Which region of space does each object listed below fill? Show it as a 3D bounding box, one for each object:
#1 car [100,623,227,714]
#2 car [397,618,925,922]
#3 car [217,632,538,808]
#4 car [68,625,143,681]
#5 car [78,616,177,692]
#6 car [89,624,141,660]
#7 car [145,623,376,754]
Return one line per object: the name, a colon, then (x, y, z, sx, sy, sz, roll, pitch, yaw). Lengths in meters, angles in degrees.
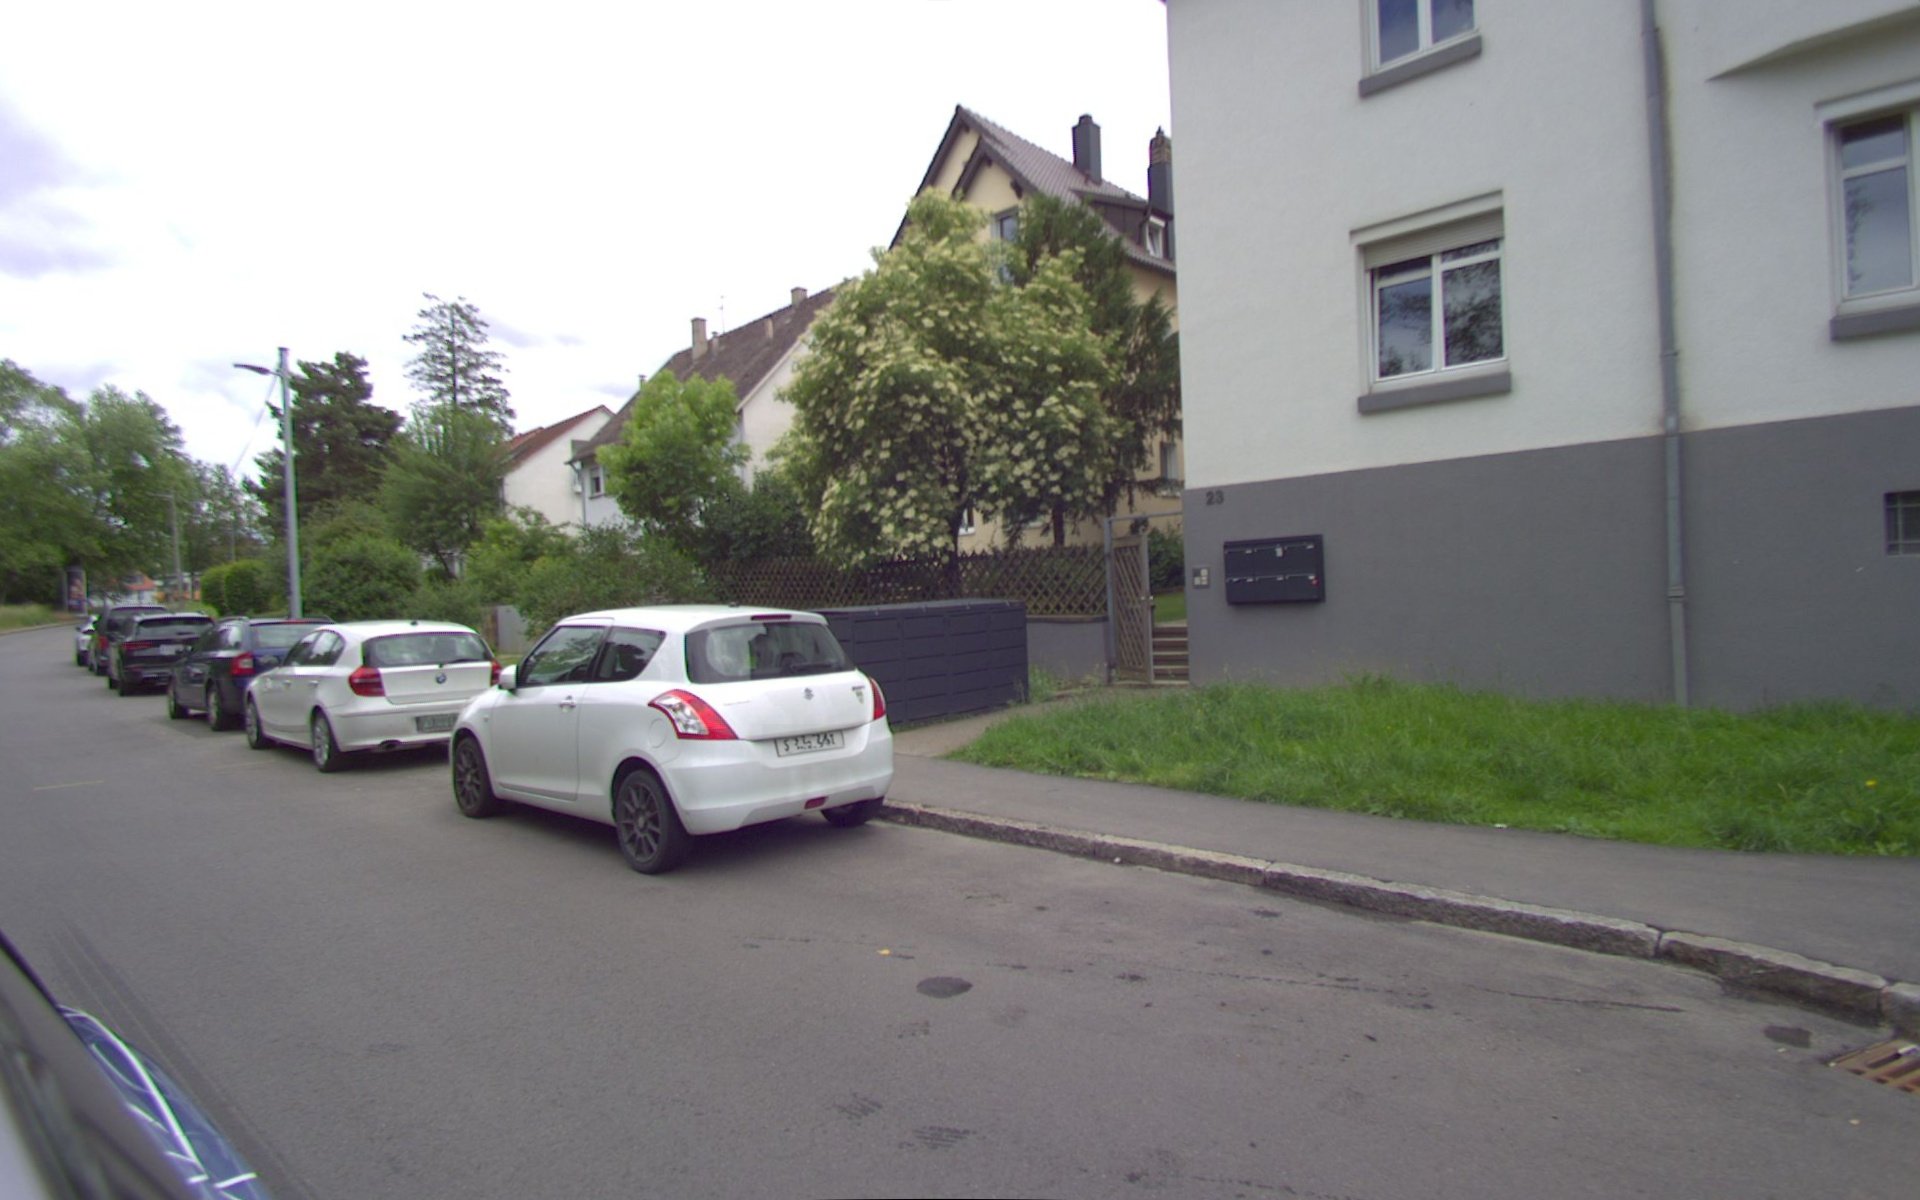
car: (-16.423, 1.316, 20.795, 1.642, 1.593, 4.081, -1, 0, -44)
car: (-2.286, 0.928, 7.060, 4.070, 1.481, 1.625, -2, -1, 42)
car: (-6.501, 1.112, 11.017, 4.726, 1.400, 1.706, -1, 0, 43)
car: (-26.110, 1.556, 30.877, 1.641, 1.516, 4.050, -1, 0, -42)
car: (-22.338, 1.355, 27.097, 1.775, 1.814, 4.068, -1, 0, -43)
car: (-37.658, 1.857, 45.176, 1.710, 1.439, 3.464, -1, 0, -39)
car: (-10.298, 1.161, 14.726, 4.813, 1.585, 1.708, -2, -1, 42)
